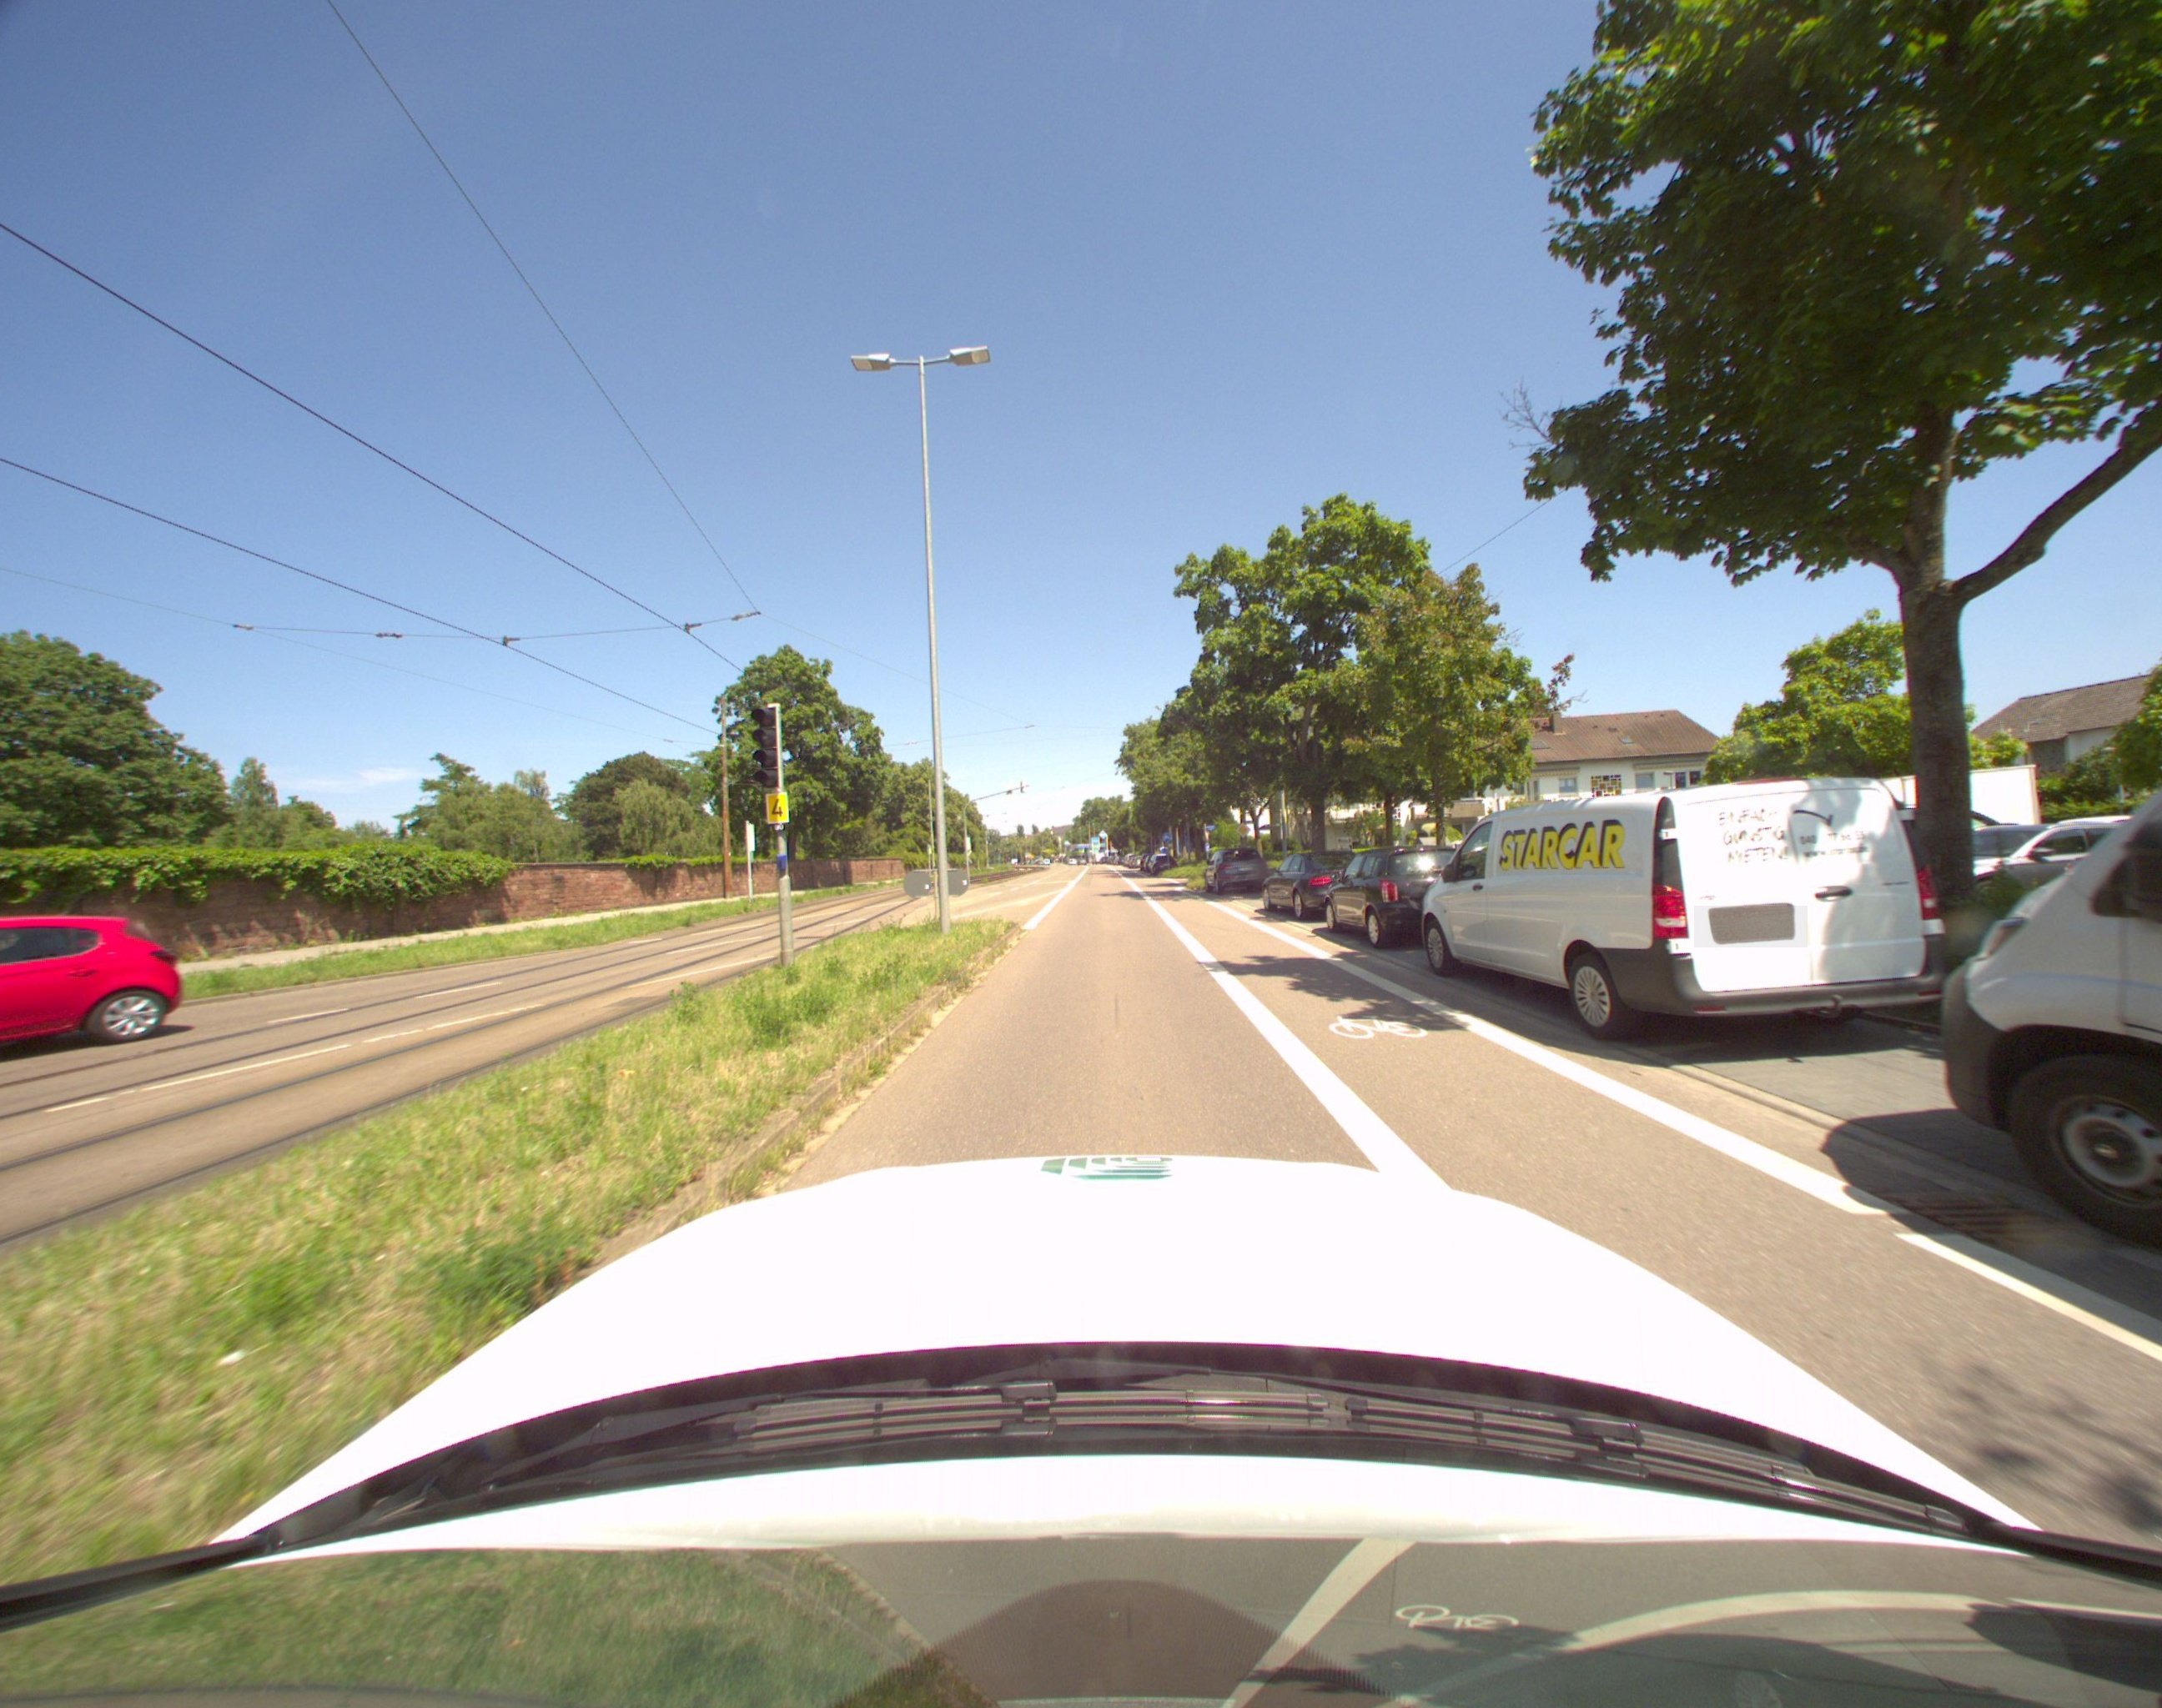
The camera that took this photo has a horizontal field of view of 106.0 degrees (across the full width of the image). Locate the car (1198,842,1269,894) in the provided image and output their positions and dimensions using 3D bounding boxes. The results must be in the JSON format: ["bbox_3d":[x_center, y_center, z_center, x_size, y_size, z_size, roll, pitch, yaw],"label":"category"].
[{"bbox_3d":[5.606,0.517,30.491,1.706,1.632,4.709,-5,-1,1],"label":"car"}]

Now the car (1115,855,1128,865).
[{"bbox_3d":[7.202,1.078,144.683,1.703,1.492,5.033,-5,0,-3],"label":"car"}]

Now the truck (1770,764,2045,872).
[{"bbox_3d":[28.451,-1.192,28.235,6.924,3.085,2.424,-4,0,0],"label":"truck"}]

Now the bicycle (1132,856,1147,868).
[{"bbox_3d":[7.150,0.979,99.610,1.765,1.228,0.684,-7,-1,5],"label":"bicycle"}]

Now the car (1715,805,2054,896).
[{"bbox_3d":[15.540,-0.059,15.971,4.674,1.644,1.955,0,0,2],"label":"car"}]

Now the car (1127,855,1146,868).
[{"bbox_3d":[7.225,0.952,106.657,1.836,1.529,4.963,-5,0,-1],"label":"car"}]

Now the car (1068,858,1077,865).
[{"bbox_3d":[-2.068,1.930,206.583,1.754,1.630,4.314,-5,0,-6],"label":"car"}]

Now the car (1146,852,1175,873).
[{"bbox_3d":[6.659,0.700,68.525,1.836,1.529,4.203,-5,0,-2],"label":"car"}]

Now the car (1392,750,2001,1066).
[{"bbox_3d":[4.962,0.347,7.890,1.989,1.878,5.280,-5,0,3],"label":"car"}]

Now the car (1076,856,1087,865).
[{"bbox_3d":[0.154,1.340,165.974,1.753,1.630,4.315,-5,0,-5],"label":"car"}]

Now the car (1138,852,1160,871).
[{"bbox_3d":[6.660,0.696,79.732,1.833,1.706,4.629,-5,0,2],"label":"car"}]

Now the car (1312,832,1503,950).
[{"bbox_3d":[5.203,0.523,13.564,1.705,1.540,3.843,-5,0,3],"label":"car"}]

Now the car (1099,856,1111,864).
[{"bbox_3d":[4.987,1.287,171.778,1.755,1.630,4.312,-5,0,-8],"label":"car"}]

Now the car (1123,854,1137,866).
[{"bbox_3d":[7.660,0.915,127.821,1.834,1.694,4.780,-5,0,2],"label":"car"}]

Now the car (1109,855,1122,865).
[{"bbox_3d":[6.565,1.157,155.871,1.706,1.562,4.311,-5,0,-8],"label":"car"}]

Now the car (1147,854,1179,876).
[{"bbox_3d":[6.219,0.796,62.128,1.835,1.436,4.822,-5,0,-1],"label":"car"}]

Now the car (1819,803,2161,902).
[{"bbox_3d":[14.954,-0.020,13.436,4.009,1.491,1.769,0,0,-1],"label":"car"}]

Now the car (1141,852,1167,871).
[{"bbox_3d":[6.622,0.677,74.095,1.836,1.529,4.351,-5,0,-1],"label":"car"}]

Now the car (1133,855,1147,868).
[{"bbox_3d":[7.345,0.915,101.647,1.513,1.529,3.817,-5,0,1],"label":"car"}]

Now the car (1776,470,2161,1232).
[{"bbox_3d":[4.687,-0.055,1.193,1.991,2.636,6.144,-5,0,1],"label":"car"}]

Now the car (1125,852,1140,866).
[{"bbox_3d":[7.665,0.748,121.636,1.835,1.794,4.352,-5,0,0],"label":"car"}]

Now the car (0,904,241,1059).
[{"bbox_3d":[-11.712,1.382,8.152,1.695,1.414,4.296,-2,0,12],"label":"car"}]

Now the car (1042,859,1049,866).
[{"bbox_3d":[-11.142,2.710,255.848,1.755,1.874,4.312,-5,0,-8],"label":"car"}]

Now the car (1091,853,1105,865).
[{"bbox_3d":[3.812,1.037,181.910,2.001,2.456,6.090,-5,0,-9],"label":"car"}]

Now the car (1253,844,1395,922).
[{"bbox_3d":[5.344,0.587,18.591,1.707,1.418,4.707,-5,0,-1],"label":"car"}]
